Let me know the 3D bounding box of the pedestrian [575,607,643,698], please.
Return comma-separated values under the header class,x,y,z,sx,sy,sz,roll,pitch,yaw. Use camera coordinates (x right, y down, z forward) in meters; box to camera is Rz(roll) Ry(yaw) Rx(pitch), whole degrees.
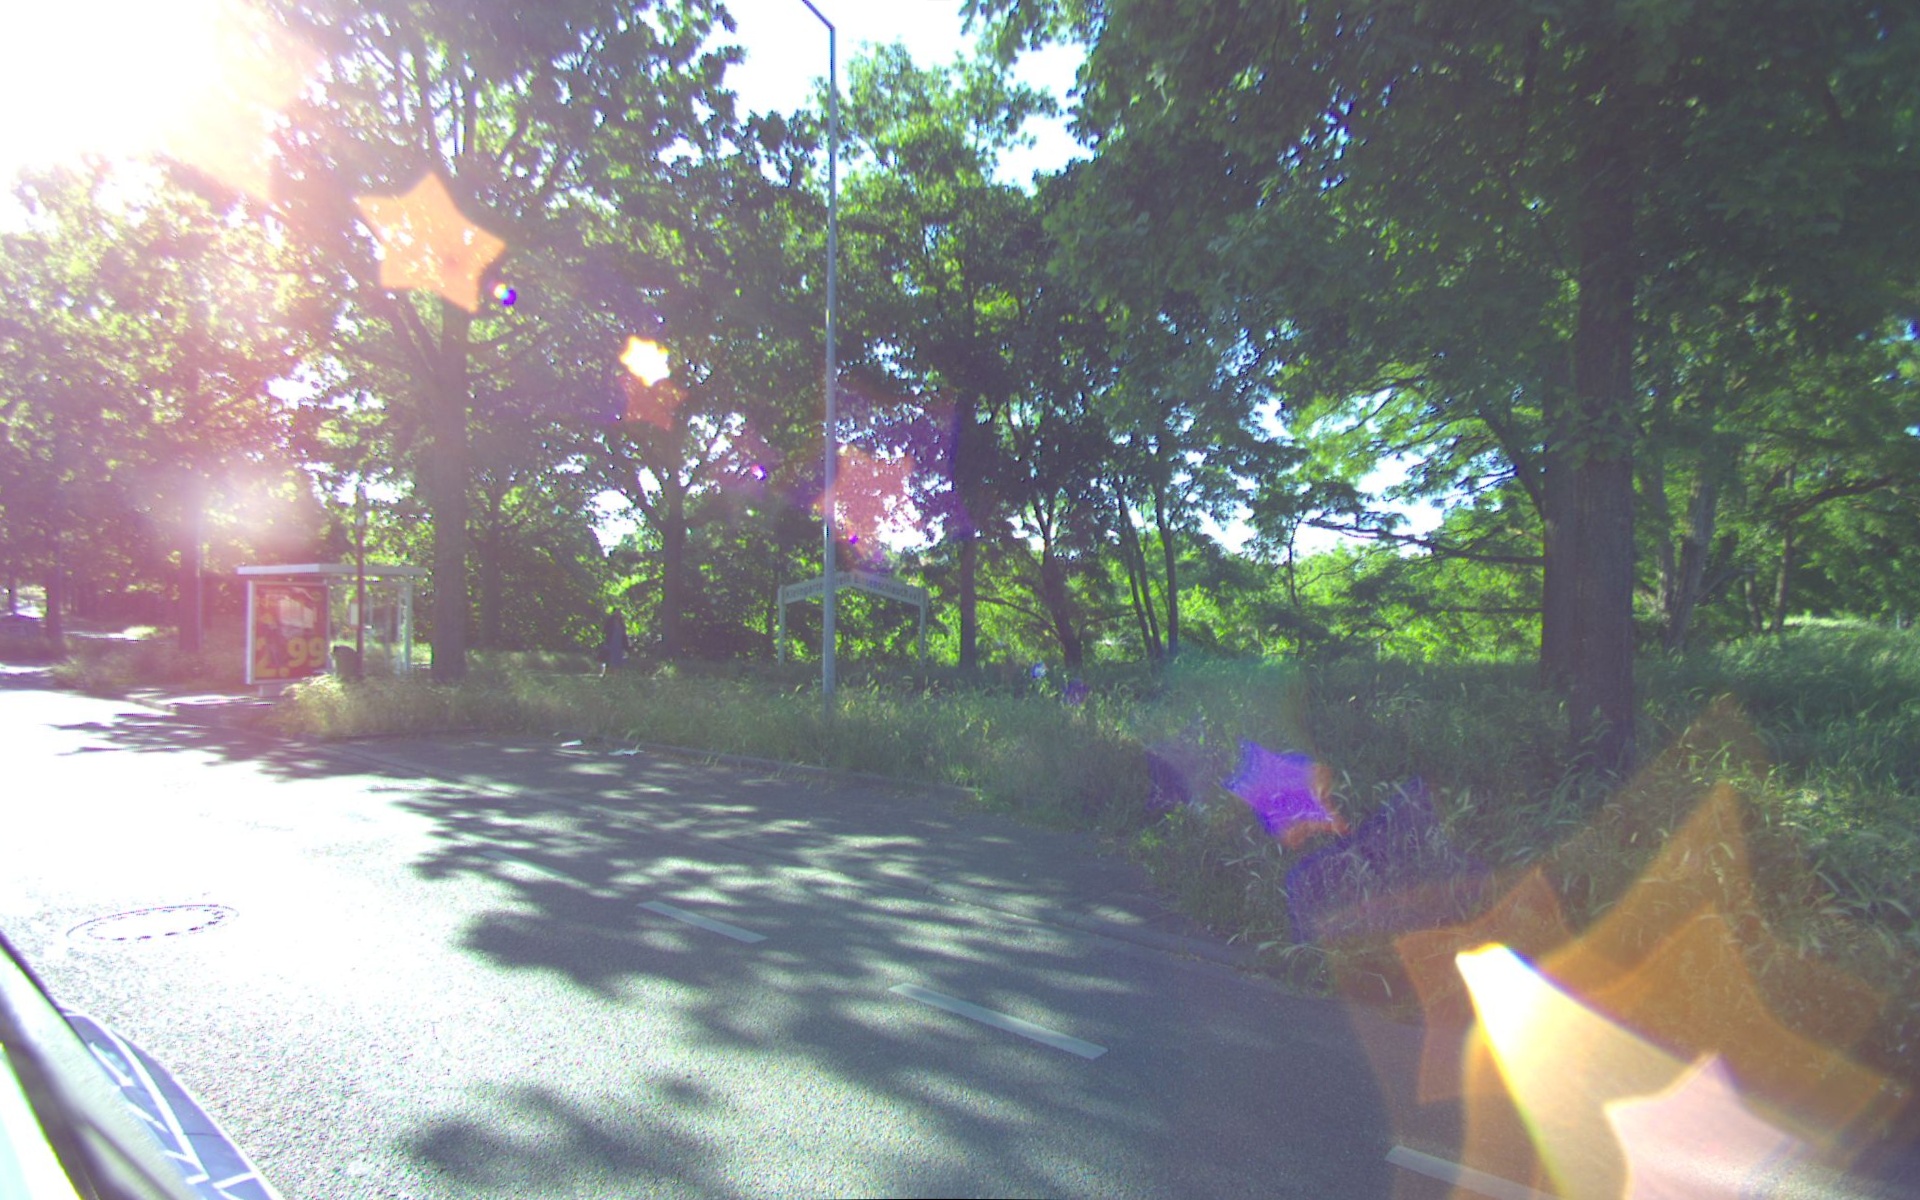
class,x,y,z,sx,sy,sz,roll,pitch,yaw
pedestrian,-6.780,0.991,19.546,0.891,1.701,0.903,-2,-1,42
